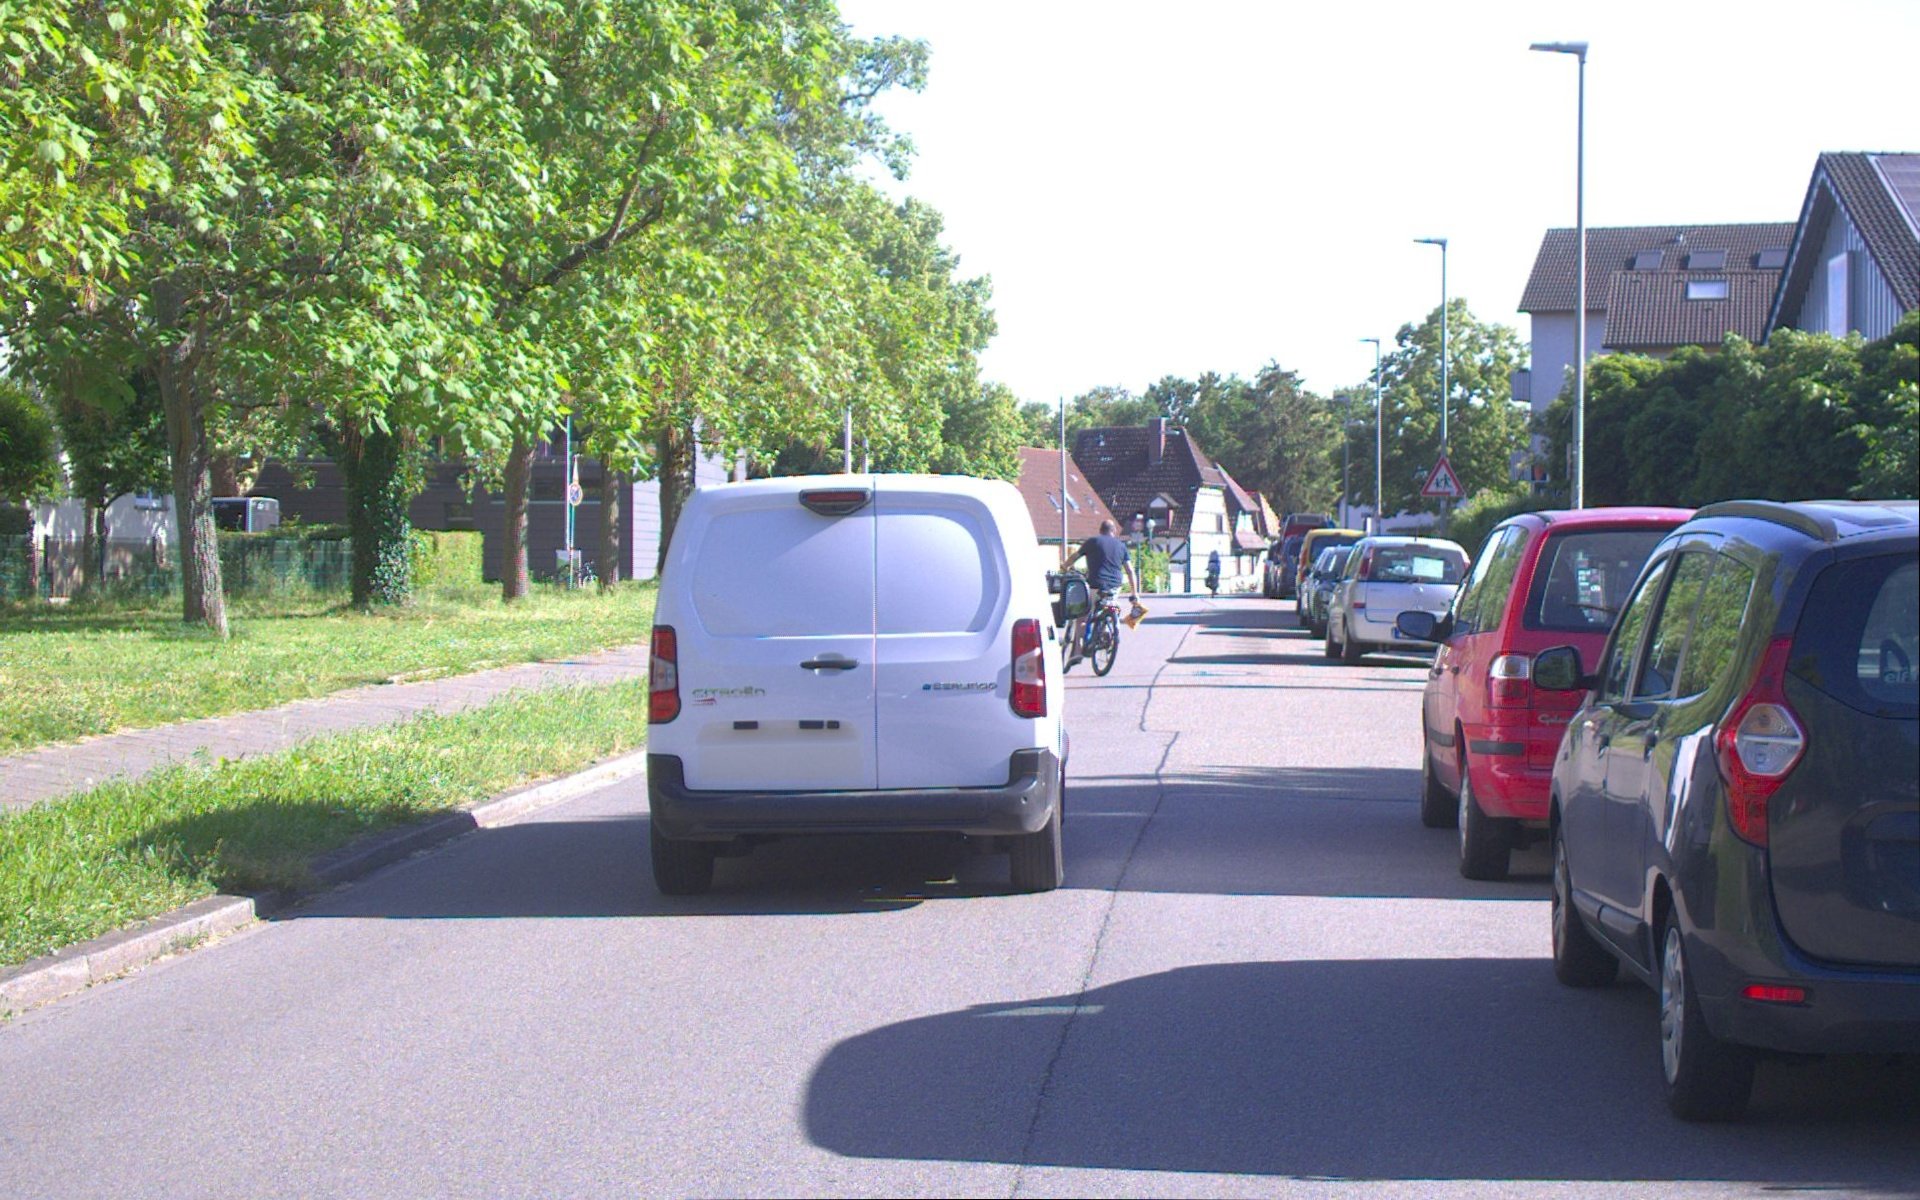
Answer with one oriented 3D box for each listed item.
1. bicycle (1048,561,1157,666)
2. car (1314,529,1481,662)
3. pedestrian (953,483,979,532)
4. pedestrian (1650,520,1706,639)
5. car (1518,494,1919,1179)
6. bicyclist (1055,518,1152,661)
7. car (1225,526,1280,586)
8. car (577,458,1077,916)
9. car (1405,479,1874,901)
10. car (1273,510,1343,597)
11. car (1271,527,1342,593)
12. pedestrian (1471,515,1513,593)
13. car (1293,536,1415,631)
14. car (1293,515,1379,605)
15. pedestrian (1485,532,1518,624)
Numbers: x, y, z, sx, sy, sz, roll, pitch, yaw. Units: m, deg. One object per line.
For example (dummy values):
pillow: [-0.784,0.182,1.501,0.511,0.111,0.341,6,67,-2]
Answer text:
bicycle: [1.588,0.132,38.622,0.786,1.135,2.280,0,1,-9]
car: [5.534,-0.073,43.869,1.680,1.594,4.028,1,1,1]
pedestrian: [0.177,-2.716,101.432,0.510,1.441,0.638,1,1,38]
pedestrian: [10.854,-0.320,51.968,0.799,1.775,0.808,0,1,13]
car: [2.753,0.526,10.429,1.725,1.651,4.352,0,1,4]
bicyclist: [1.607,-0.117,38.599,0.905,1.579,0.967,1,0,-9]
car: [10.644,-1.576,125.243,1.804,2.061,3.999,2,0,3]
car: [-0.473,0.315,16.244,1.994,1.875,4.288,0,1,3]
car: [3.206,0.337,17.062,1.840,1.799,4.653,0,1,6]
car: [10.747,-1.421,106.399,1.867,2.553,4.767,2,0,3]
car: [9.984,-1.142,99.151,1.804,1.779,3.999,2,0,3]
pedestrian: [12.697,-1.104,82.073,0.793,1.855,0.874,1,1,-2]
car: [6.300,-0.292,55.283,1.808,1.438,4.363,1,1,5]
car: [7.885,-0.845,72.323,1.724,1.831,3.999,1,1,6]
pedestrian: [9.688,-0.401,61.482,0.567,1.631,0.546,0,1,10]
